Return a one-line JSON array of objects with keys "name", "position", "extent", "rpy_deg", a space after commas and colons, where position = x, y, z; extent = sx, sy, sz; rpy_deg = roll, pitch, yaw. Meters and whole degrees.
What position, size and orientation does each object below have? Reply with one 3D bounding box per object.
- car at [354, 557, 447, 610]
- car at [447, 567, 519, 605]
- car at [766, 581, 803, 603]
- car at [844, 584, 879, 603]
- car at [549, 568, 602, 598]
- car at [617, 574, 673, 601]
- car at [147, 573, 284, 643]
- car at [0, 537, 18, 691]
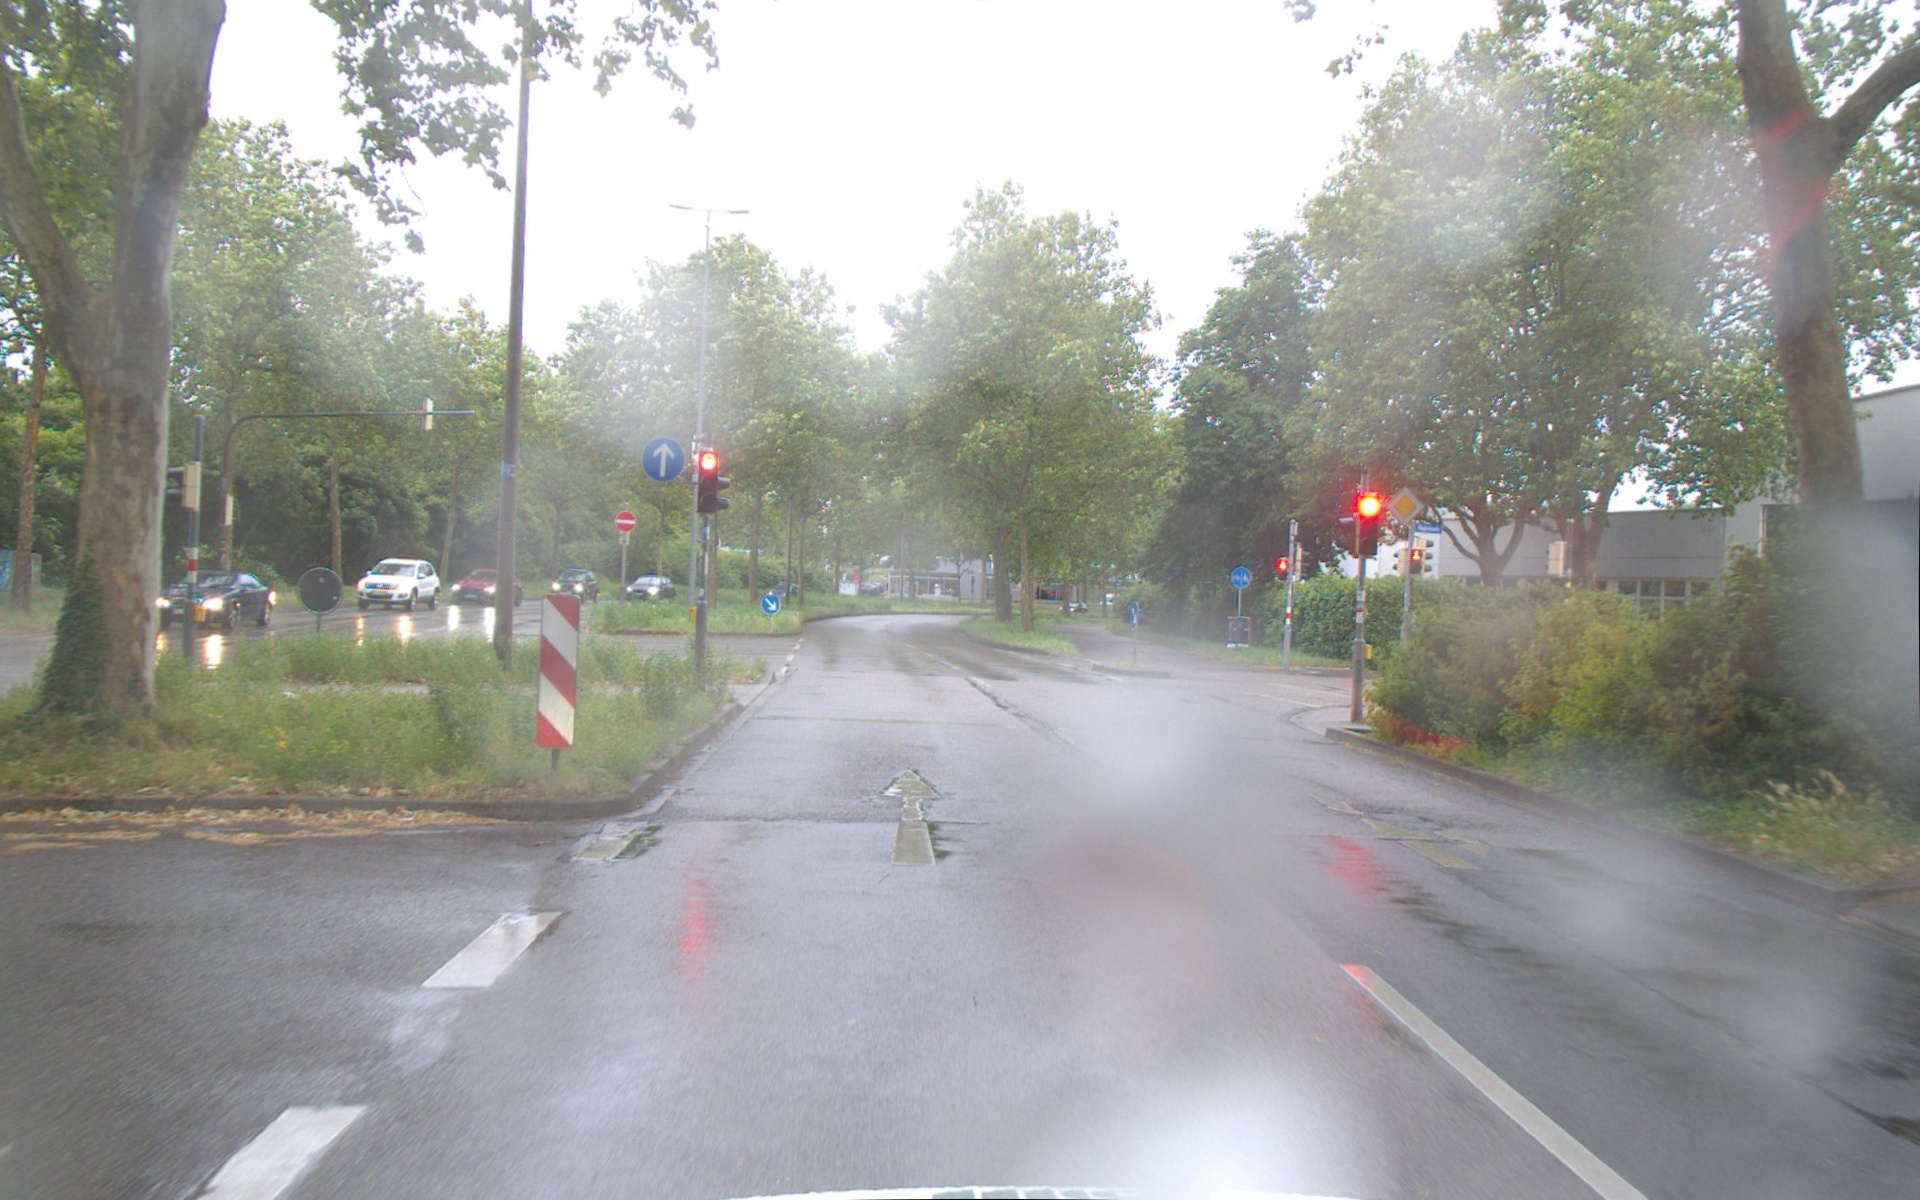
[{"name": "car", "position": [-18.907, -0.554, 56.064], "extent": [1.708, 1.660, 4.443], "rpy_deg": [2, 0, -2]}, {"name": "car", "position": [-19.097, -0.561, 66.376], "extent": [1.708, 1.432, 4.442], "rpy_deg": [2, 0, -3]}, {"name": "car", "position": [-12.104, -0.540, 114.359], "extent": [1.553, 1.396, 4.265], "rpy_deg": [2, 0, 8]}, {"name": "car", "position": [-12.003, -0.807, 201.337], "extent": [3.917, 2.049, 1.994], "rpy_deg": [3, -1, -12]}, {"name": "car", "position": [-18.388, -0.799, 79.224], "extent": [1.554, 1.396, 3.335], "rpy_deg": [2, 0, 2]}, {"name": "car", "position": [-17.131, -0.657, 90.166], "extent": [1.553, 1.396, 4.266], "rpy_deg": [2, 0, 9]}, {"name": "car", "position": [-18.029, 0.152, 40.271], "extent": [1.710, 1.464, 4.439], "rpy_deg": [2, 2, -7]}, {"name": "car", "position": [-12.356, 0.151, 17.866], "extent": [1.709, 1.874, 5.116], "rpy_deg": [2, 0, -5]}]
